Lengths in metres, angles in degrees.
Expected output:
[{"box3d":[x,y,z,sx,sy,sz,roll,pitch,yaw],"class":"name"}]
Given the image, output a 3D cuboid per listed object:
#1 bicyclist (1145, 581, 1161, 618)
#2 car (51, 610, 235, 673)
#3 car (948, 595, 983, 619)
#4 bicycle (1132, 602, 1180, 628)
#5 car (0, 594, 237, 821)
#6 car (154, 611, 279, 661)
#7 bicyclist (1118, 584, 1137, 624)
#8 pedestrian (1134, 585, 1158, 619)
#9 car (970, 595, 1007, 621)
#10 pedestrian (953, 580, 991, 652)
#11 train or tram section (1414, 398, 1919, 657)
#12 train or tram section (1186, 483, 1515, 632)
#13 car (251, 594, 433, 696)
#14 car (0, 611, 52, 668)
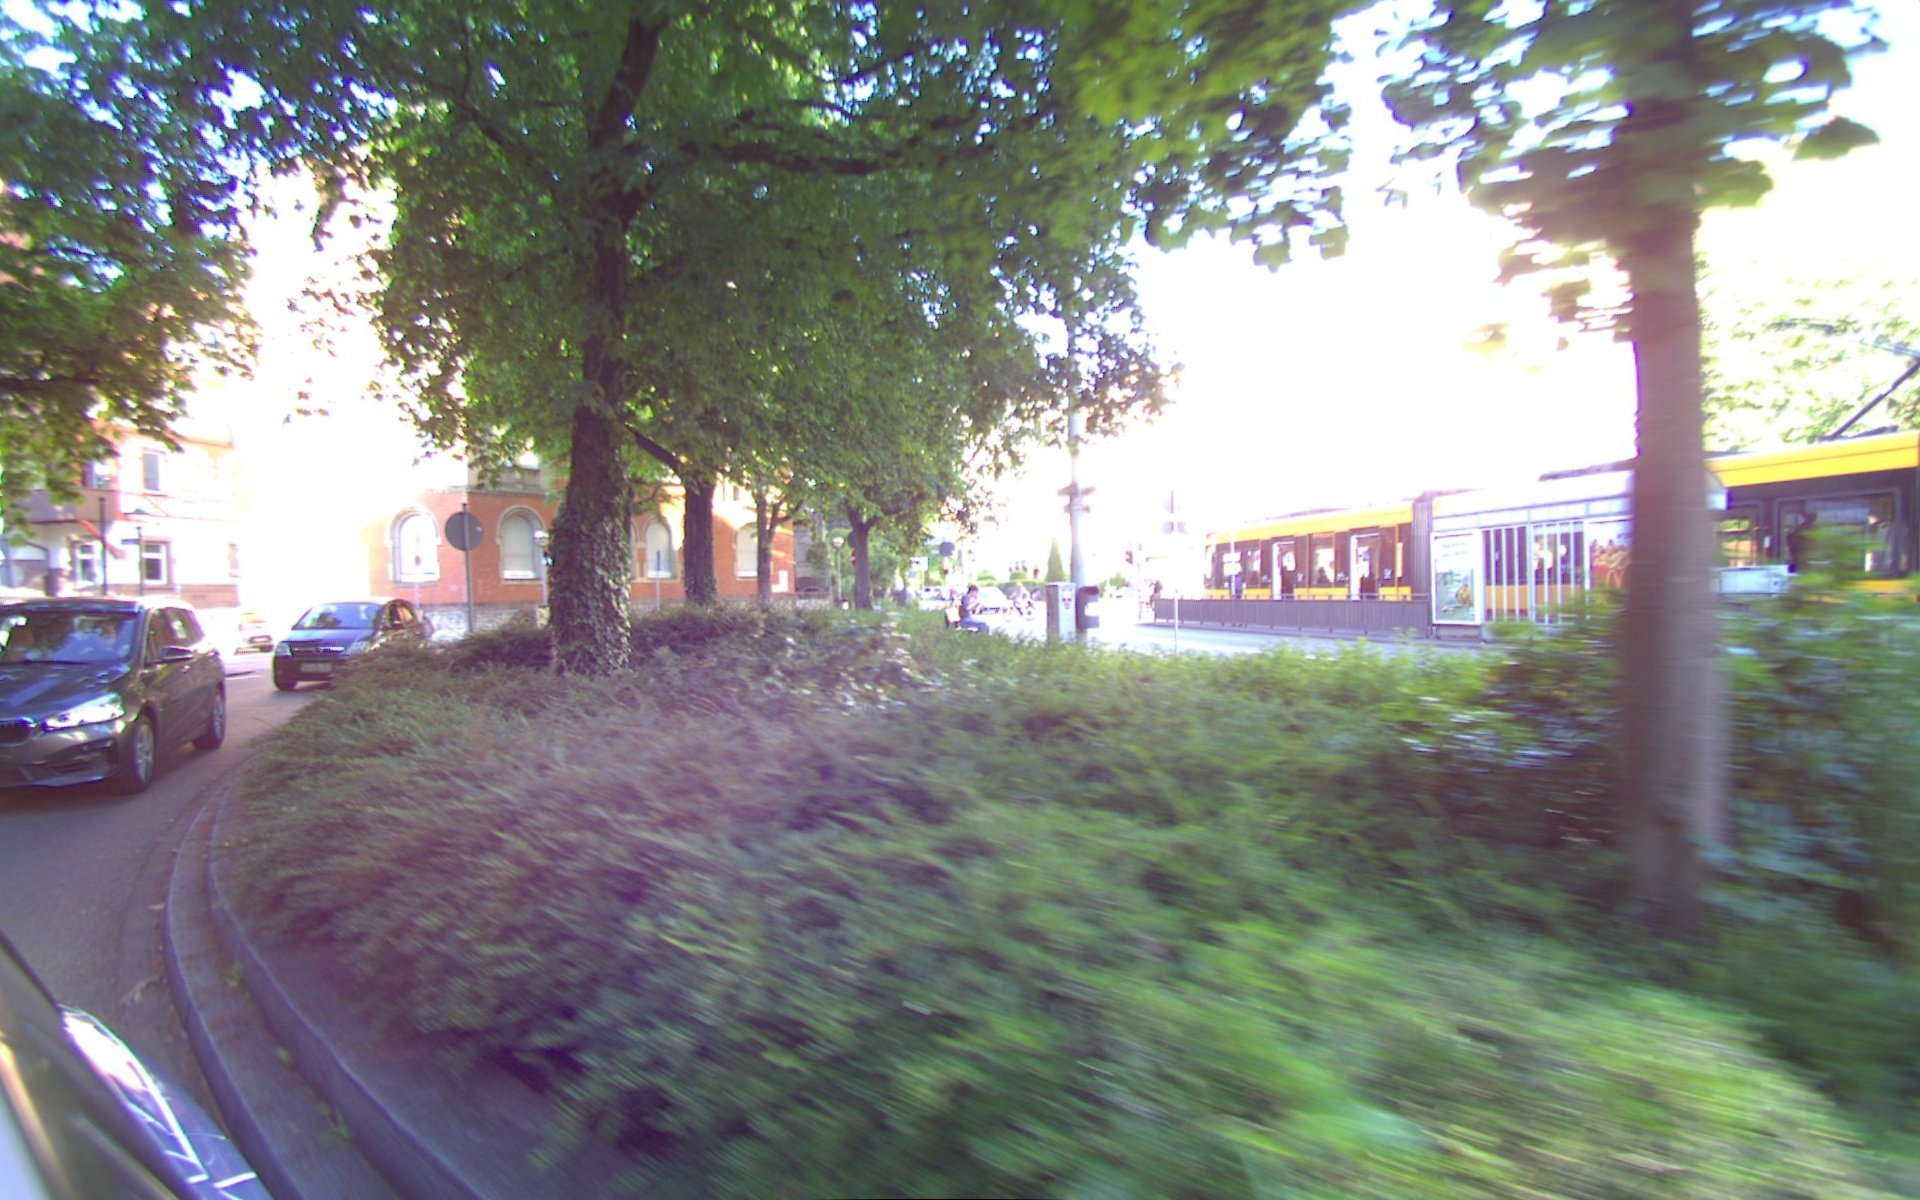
[{"box3d":[8.332,-0.030,43.684,0.493,1.585,0.496,-1,0,-14],"class":"bicyclist"},{"box3d":[-22.428,1.132,27.841,4.006,1.564,1.692,-2,0,9],"class":"car"},{"box3d":[0.351,0.459,69.287,1.709,1.427,4.009,-2,2,-9],"class":"car"},{"box3d":[8.470,0.629,43.723,1.949,1.065,0.640,-2,0,-13],"class":"bicycle"},{"box3d":[-7.901,0.774,8.937,1.763,1.590,4.275,-1,0,-26],"class":"car"},{"box3d":[-24.324,1.180,33.139,3.178,1.551,1.489,-1,0,8],"class":"car"},{"box3d":[6.766,0.161,40.935,0.588,1.585,0.557,-1,0,-10],"class":"bicyclist"},{"box3d":[9.472,0.093,51.590,0.891,1.647,0.726,-4,1,-44],"class":"pedestrian"},{"box3d":[1.696,0.463,61.449,1.710,1.428,4.005,-2,0,-5],"class":"car"},{"box3d":[0.245,0.322,21.107,0.699,1.454,0.601,-2,1,-6],"class":"pedestrian"},{"box3d":[13.768,-1.054,18.797,2.740,3.614,12.452,-2,0,-13],"class":"train or tram section"},{"box3d":[11.033,-1.077,31.095,2.728,3.584,12.714,-2,0,-13],"class":"train or tram section"},{"box3d":[-11.197,0.749,18.613,1.653,1.640,3.696,-1,0,-11],"class":"car"},{"box3d":[-28.759,1.187,29.061,4.138,1.564,1.801,-2,0,9],"class":"car"}]
